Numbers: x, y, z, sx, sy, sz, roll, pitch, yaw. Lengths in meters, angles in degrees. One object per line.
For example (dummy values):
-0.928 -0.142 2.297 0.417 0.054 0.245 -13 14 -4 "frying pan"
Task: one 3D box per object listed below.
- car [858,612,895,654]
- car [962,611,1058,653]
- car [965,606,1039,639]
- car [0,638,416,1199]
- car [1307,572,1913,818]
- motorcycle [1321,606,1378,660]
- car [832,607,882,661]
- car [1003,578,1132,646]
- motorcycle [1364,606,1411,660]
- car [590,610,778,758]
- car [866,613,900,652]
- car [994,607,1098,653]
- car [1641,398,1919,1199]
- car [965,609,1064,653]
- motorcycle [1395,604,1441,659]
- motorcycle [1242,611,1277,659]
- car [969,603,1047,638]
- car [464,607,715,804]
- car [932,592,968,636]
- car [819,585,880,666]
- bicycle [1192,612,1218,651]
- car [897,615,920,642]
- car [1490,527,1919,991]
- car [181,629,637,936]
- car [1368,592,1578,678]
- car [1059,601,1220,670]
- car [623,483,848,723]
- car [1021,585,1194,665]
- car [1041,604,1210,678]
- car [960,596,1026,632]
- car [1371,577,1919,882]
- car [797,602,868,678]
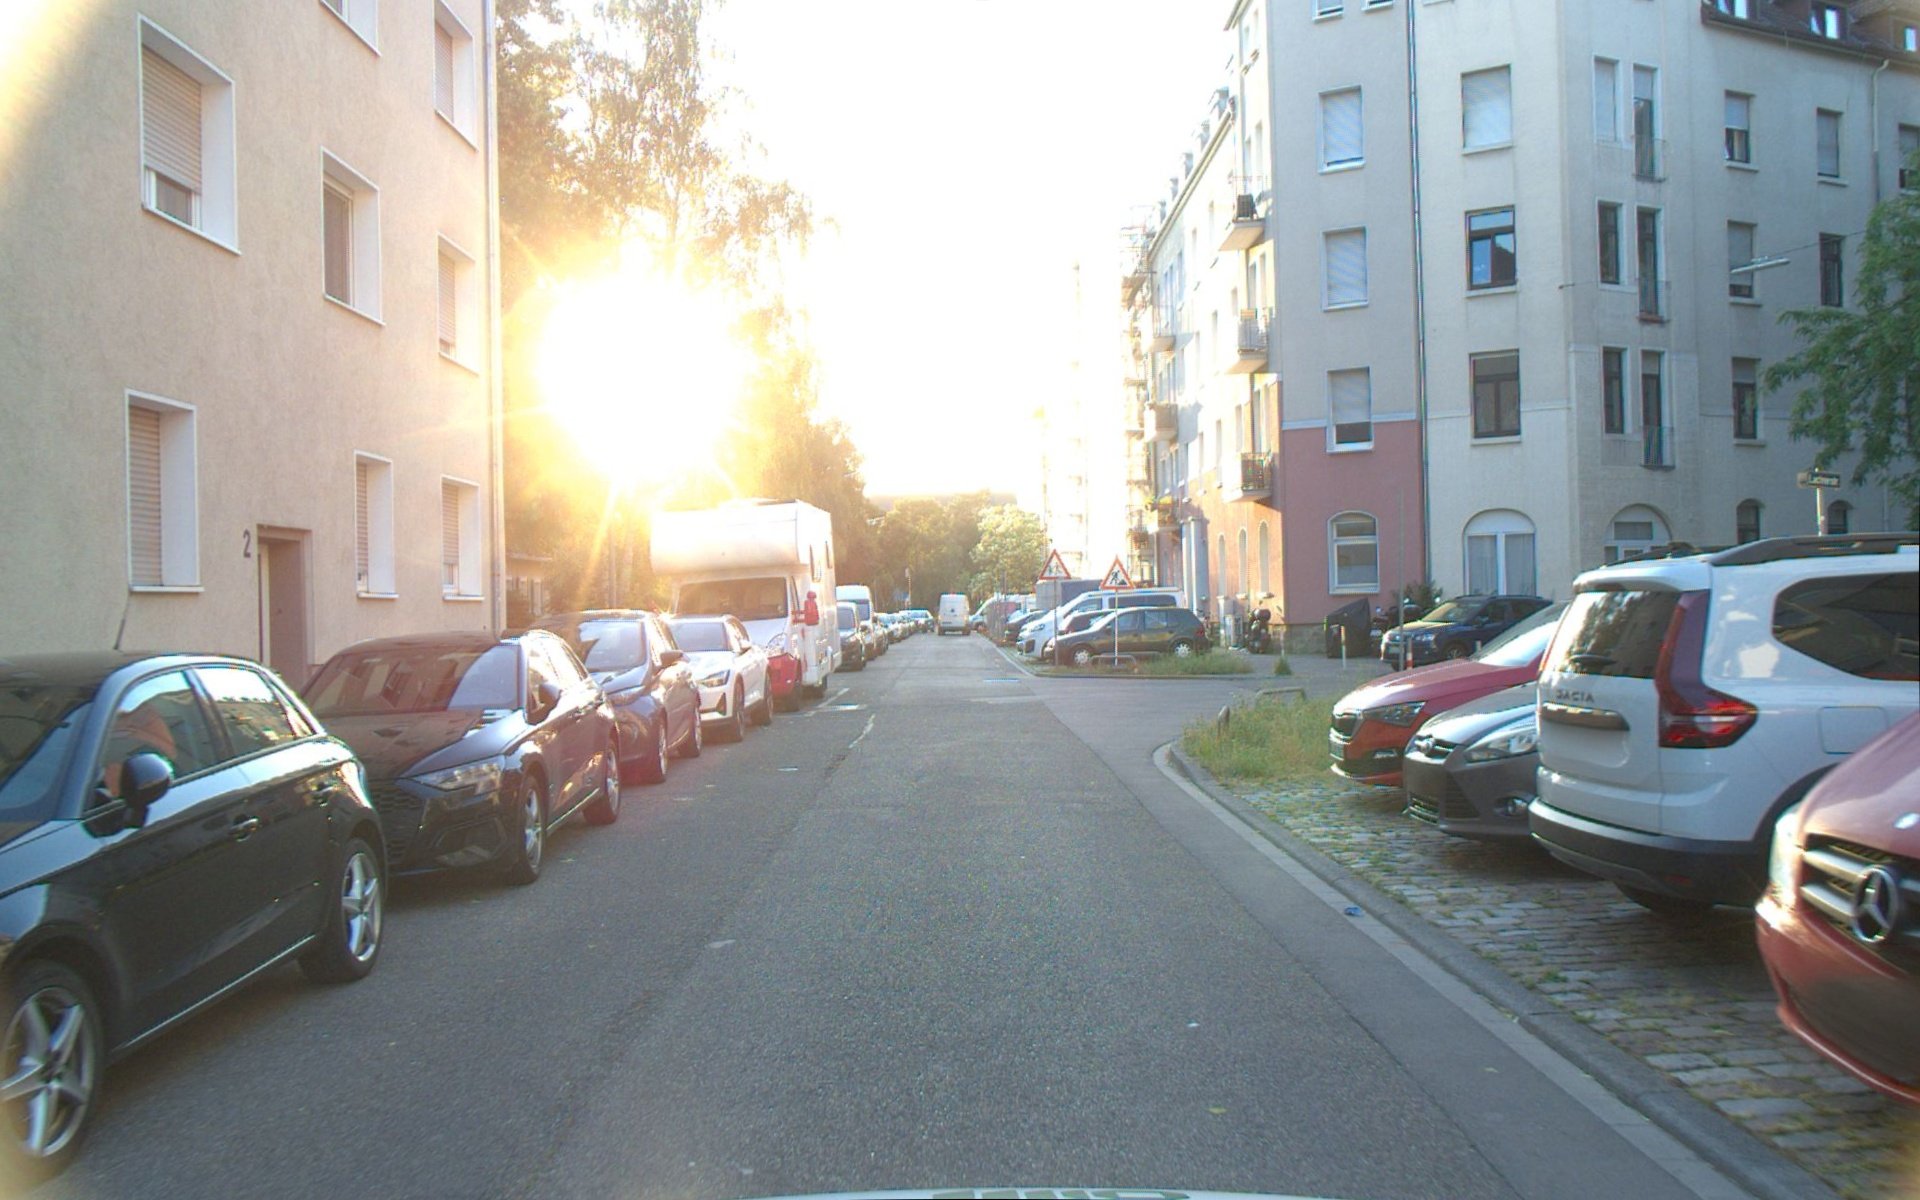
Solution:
-4.007 1.580 79.993 1.620 1.862 3.874 -3 -1 -2 "car"
2.066 1.333 69.088 3.906 1.557 1.658 -3 -1 -1 "car"
2.262 1.227 89.819 3.906 1.557 1.658 -3 -1 -1 "car"
-3.234 0.919 5.527 1.620 1.460 3.794 -3 -1 -2 "car"
4.624 0.661 12.138 3.735 1.453 1.634 -3 -1 -2 "car"
9.440 0.785 40.057 0.509 1.249 1.971 -2 -1 40 "motorcycle"
-3.795 1.254 61.434 1.620 1.862 3.874 -3 -1 -2 "car"
3.473 0.400 53.802 3.909 2.049 1.998 -2 -1 -5 "car"
10.266 0.789 39.686 0.508 1.249 1.976 -2 -1 31 "motorcycle"
-3.307 0.969 20.484 1.619 1.568 3.875 -3 -1 0 "car"
-3.930 1.642 84.861 1.620 1.862 3.874 -3 -1 -2 "car"
3.342 1.154 64.645 3.906 1.557 1.658 -3 -1 -1 "car"
4.563 0.376 4.317 4.627 1.942 2.058 -3 -1 -2 "car"
2.187 1.239 67.216 3.906 1.557 1.658 -3 -1 -1 "car"
10.923 0.741 39.424 0.508 1.249 1.976 -2 -1 31 "motorcycle"
7.952 0.924 43.958 0.507 1.249 1.981 -1 -1 -1 "motorcycle"
2.453 1.051 85.665 3.906 1.557 1.658 -3 -1 -1 "car"
-3.459 0.932 16.127 1.620 1.592 3.874 -3 -1 -2 "car"
-0.671 0.931 109.645 2.086 2.764 4.831 -3 -1 -2 "car"
-3.661 0.864 55.431 1.734 2.488 5.142 -3 -1 -2 "car"
8.046 1.045 54.442 0.507 1.249 1.981 -1 -1 -1 "bicycle"
-3.784 2.084 121.707 1.620 1.862 3.874 -3 -1 -2 "car"
4.734 0.512 7.122 4.237 1.666 1.817 -3 -1 -2 "car"
-3.196 0.964 10.405 1.620 1.460 3.874 -3 -1 -2 "car"
10.356 0.693 33.395 3.831 1.602 1.700 -1 -1 -22 "car"
4.631 0.912 43.011 3.906 1.557 1.658 -3 -1 -1 "car"
-3.509 0.097 27.800 2.566 3.326 7.695 -3 -1 0 "car"
4.193 0.718 47.595 4.716 2.002 1.738 -3 -1 -1 "car"
4.031 0.998 40.684 3.906 1.557 1.658 -3 -1 -1 "car"
2.438 1.039 123.374 4.716 2.450 1.738 -3 -1 -1 "car"
4.489 0.663 9.572 3.735 1.453 1.634 -3 -1 -2 "car"
-3.382 1.049 44.366 1.620 1.862 3.874 -3 -1 -2 "car"
